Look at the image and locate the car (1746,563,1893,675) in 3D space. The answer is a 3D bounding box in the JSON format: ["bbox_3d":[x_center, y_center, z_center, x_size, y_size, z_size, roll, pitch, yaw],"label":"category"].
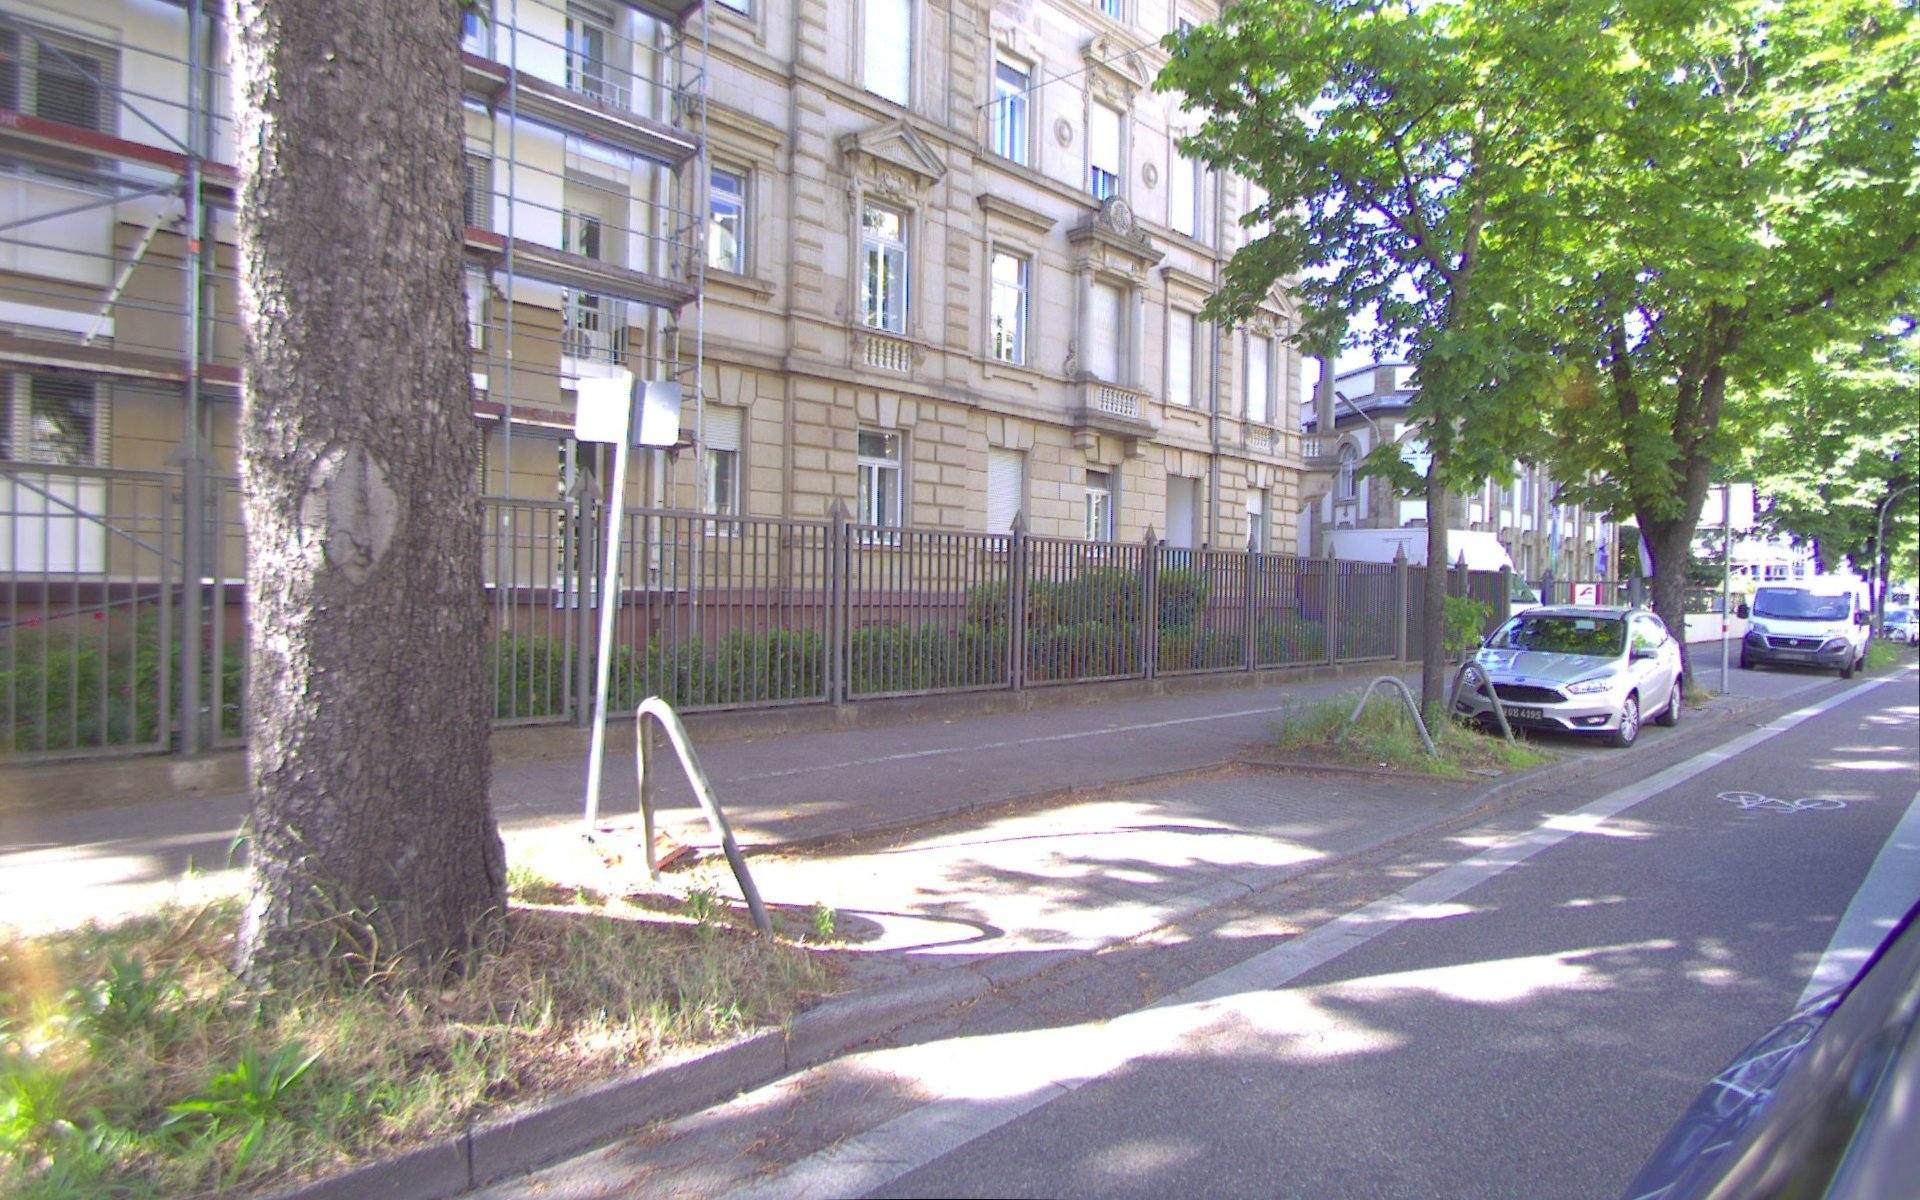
[{"bbox_3d":[20.974,0.353,24.595,5.710,2.371,2.129,-1,3,-44],"label":"car"}]

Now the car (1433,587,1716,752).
[{"bbox_3d":[7.537,0.668,12.225,4.294,1.562,1.874,-1,3,-44],"label":"car"}]

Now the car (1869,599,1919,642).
[{"bbox_3d":[37.430,0.778,40.079,4.035,1.569,1.863,-1,1,-44],"label":"car"}]

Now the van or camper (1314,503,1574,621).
[{"bbox_3d":[12.247,-0.888,26.374,2.078,2.660,6.751,0,0,-17],"label":"van or camper"}]
